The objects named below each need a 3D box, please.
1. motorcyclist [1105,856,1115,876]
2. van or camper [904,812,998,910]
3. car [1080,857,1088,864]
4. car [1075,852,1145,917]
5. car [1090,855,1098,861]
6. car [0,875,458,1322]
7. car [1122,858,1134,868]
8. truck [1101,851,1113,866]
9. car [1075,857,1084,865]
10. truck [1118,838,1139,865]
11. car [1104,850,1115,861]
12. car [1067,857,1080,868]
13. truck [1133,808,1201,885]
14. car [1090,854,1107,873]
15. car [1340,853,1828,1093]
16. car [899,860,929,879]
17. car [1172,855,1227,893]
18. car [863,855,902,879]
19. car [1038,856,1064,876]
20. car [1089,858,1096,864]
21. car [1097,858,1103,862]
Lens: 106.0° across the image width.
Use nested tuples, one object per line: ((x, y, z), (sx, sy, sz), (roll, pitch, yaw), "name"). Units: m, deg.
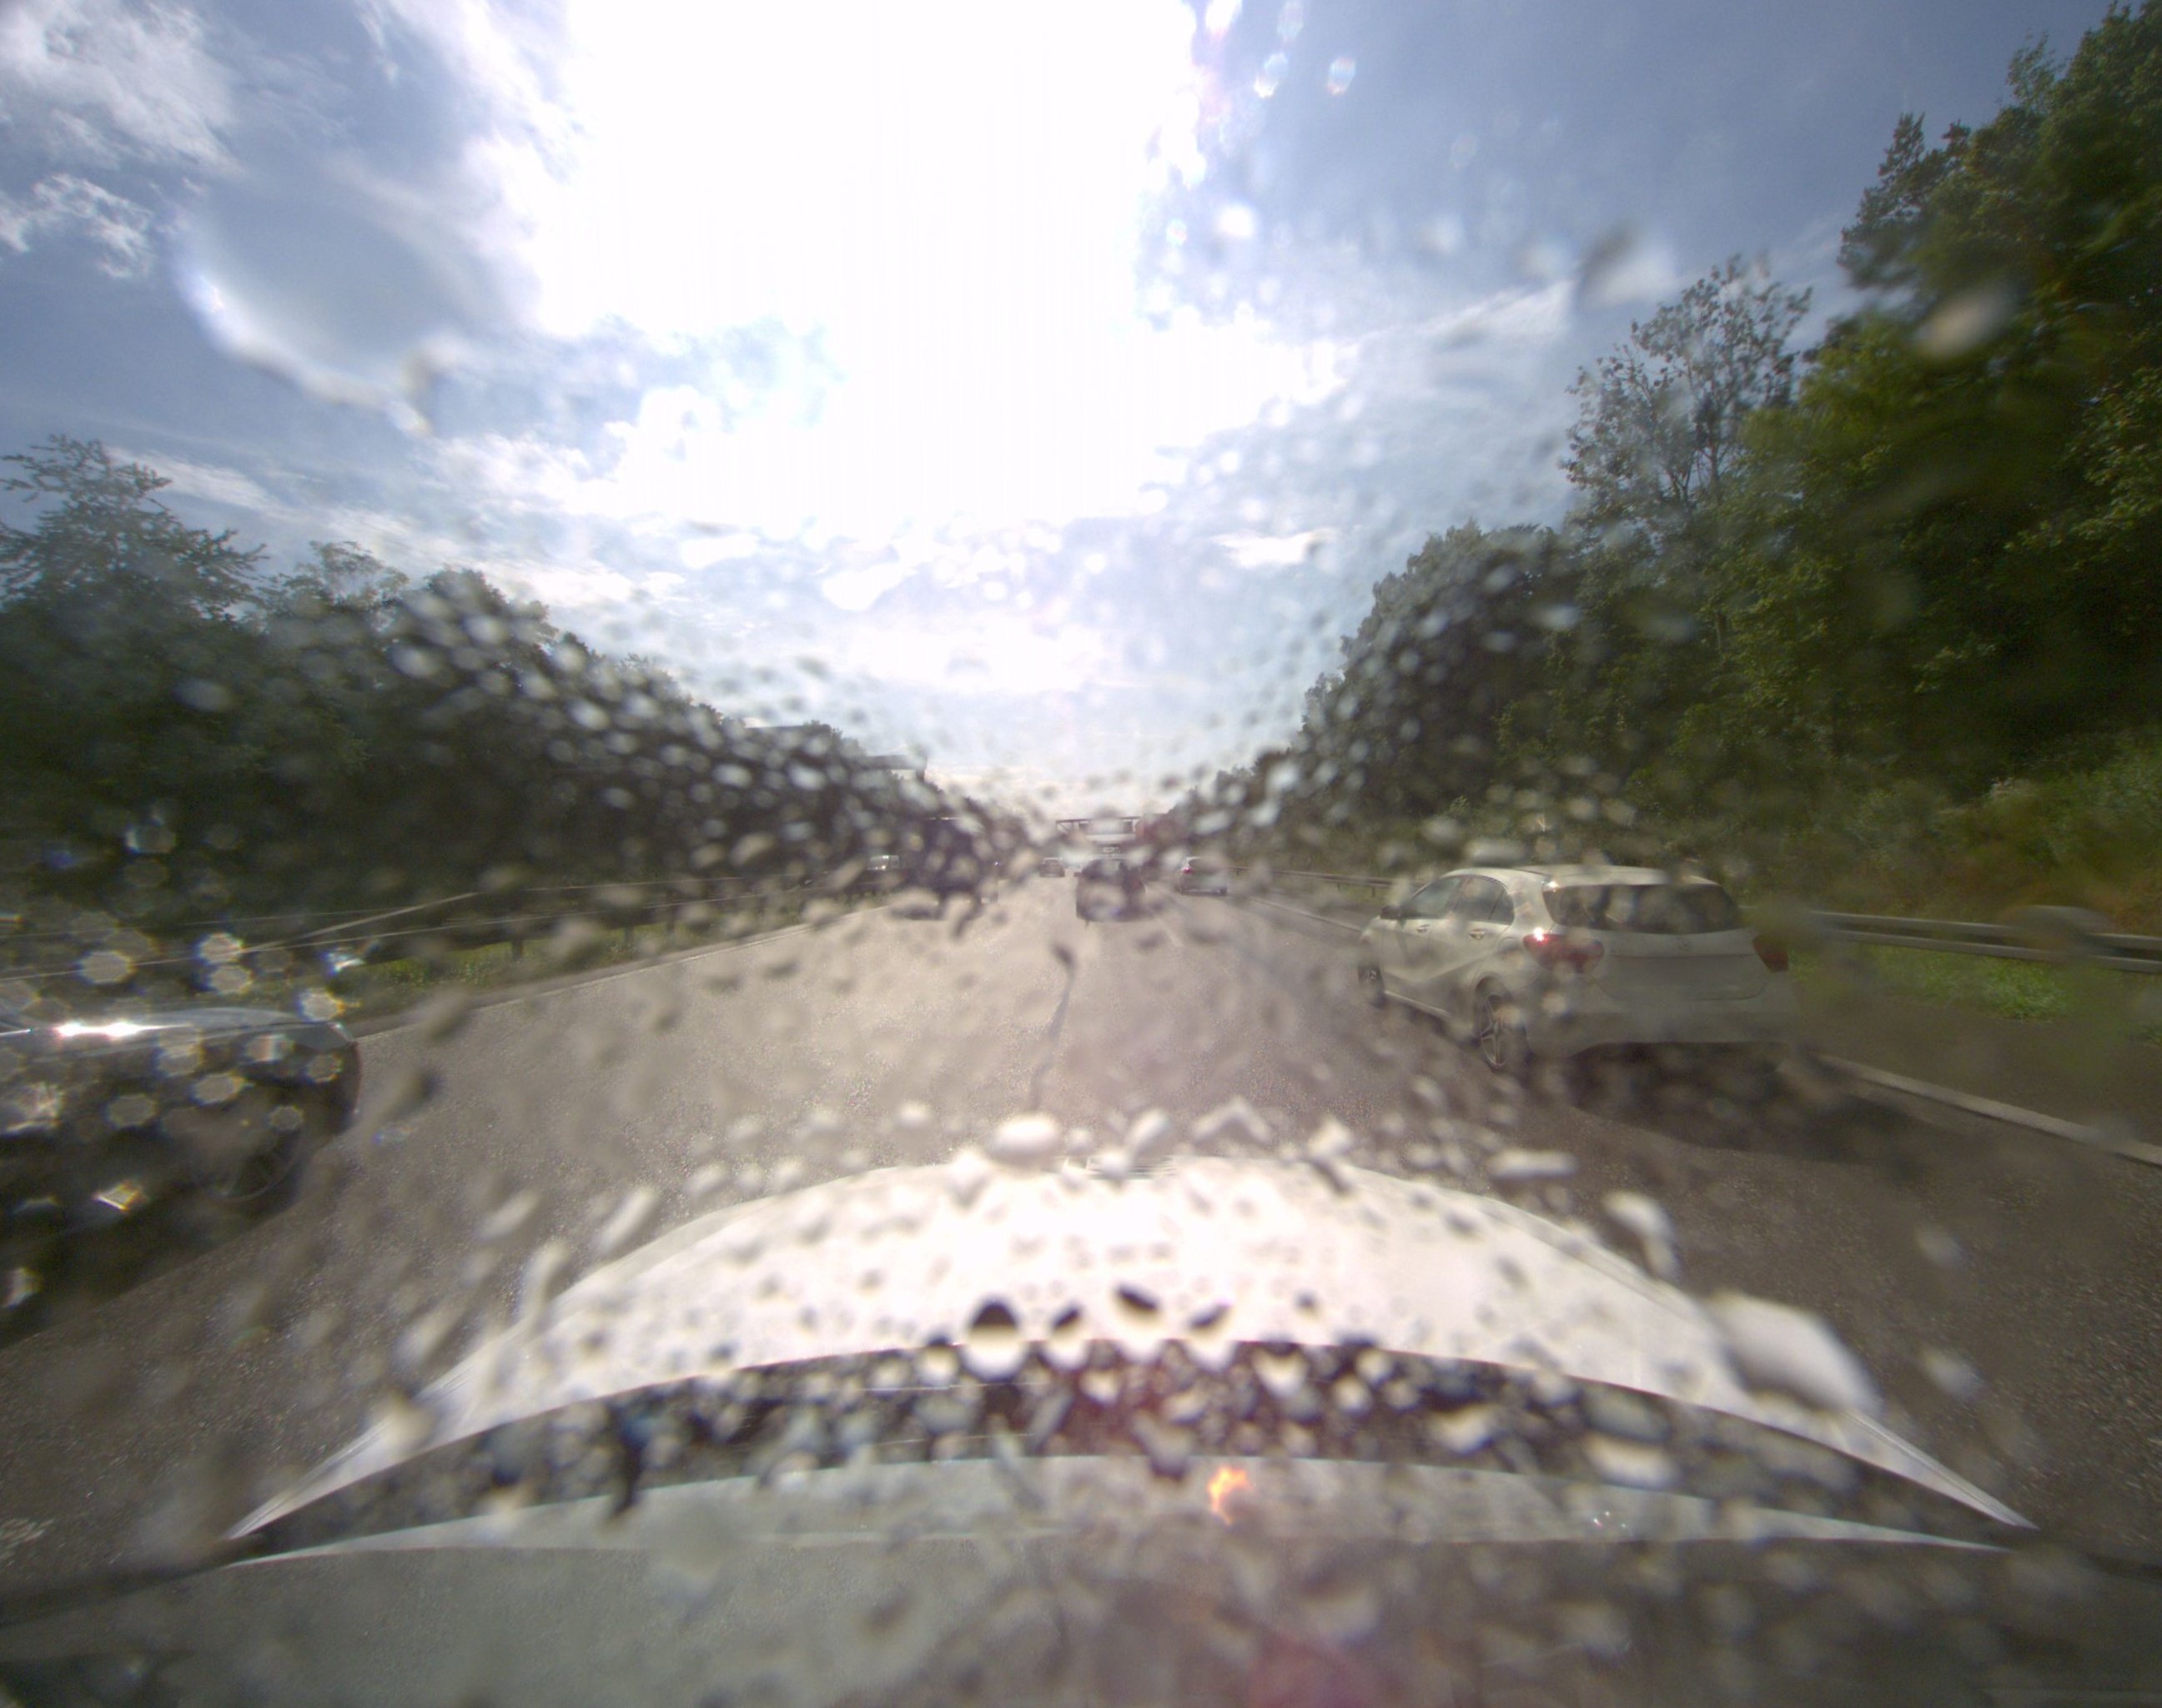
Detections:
((2.387, 0.977, 67.300), (0.799, 1.633, 1.013), (0, -1, 0), "motorcyclist")
((-3.816, 0.211, 24.925), (1.987, 2.669, 5.384), (0, 0, 0), "van or camper")
((0.634, 1.296, 160.073), (1.510, 1.390, 3.273), (0, 0, 0), "car")
((0.723, 0.755, 21.624), (1.712, 1.568, 3.484), (0, 0, 0), "car")
((3.331, 1.030, 211.010), (1.985, 1.701, 4.003), (-2, 0, 2), "car")
((-4.425, 0.815, 2.121), (1.788, 1.419, 4.840), (0, 0, 1), "car")
((6.418, 1.231, 111.793), (1.547, 1.383, 3.209), (0, 0, 0), "car")
((5.139, 0.902, 160.254), (2.185, 2.875, 4.849), (0, 0, 0), "truck")
((-0.283, 1.146, 135.092), (1.455, 1.393, 3.311), (0, 0, 0), "car")
((8.080, -0.423, 139.943), (3.243, 4.479, 12.426), (0, 0, 2), "truck")
((3.982, 0.214, 113.937), (1.547, 1.383, 3.209), (0, 0, 0), "car")
((-1.020, 1.075, 108.812), (1.745, 1.457, 3.389), (0, 0, 0), "car")
((5.812, -0.416, 58.126), (3.636, 4.720, 16.786), (0, 0, 2), "truck")
((1.580, 0.893, 75.908), (1.526, 1.746, 3.484), (0, 0, 0), "car")
((3.669, 0.726, 6.970), (1.686, 1.425, 4.222), (0, 0, 2), "car")
((-15.198, 1.396, 74.194), (1.741, 1.634, 4.002), (0, 0, 2), "car")
((4.725, 0.771, 32.852), (1.675, 1.442, 3.904), (0, 0, 0), "car")
((-19.060, 1.243, 78.588), (2.136, 2.249, 5.982), (0, 0, 2), "car")
((-2.316, 0.929, 64.033), (1.848, 1.551, 3.484), (0, 0, 0), "car")
((2.729, 1.566, 189.113), (1.544, 1.267, 3.484), (0, 0, 0), "car")
((5.323, 1.654, 227.909), (1.544, 1.267, 3.484), (0, 0, 0), "car")
